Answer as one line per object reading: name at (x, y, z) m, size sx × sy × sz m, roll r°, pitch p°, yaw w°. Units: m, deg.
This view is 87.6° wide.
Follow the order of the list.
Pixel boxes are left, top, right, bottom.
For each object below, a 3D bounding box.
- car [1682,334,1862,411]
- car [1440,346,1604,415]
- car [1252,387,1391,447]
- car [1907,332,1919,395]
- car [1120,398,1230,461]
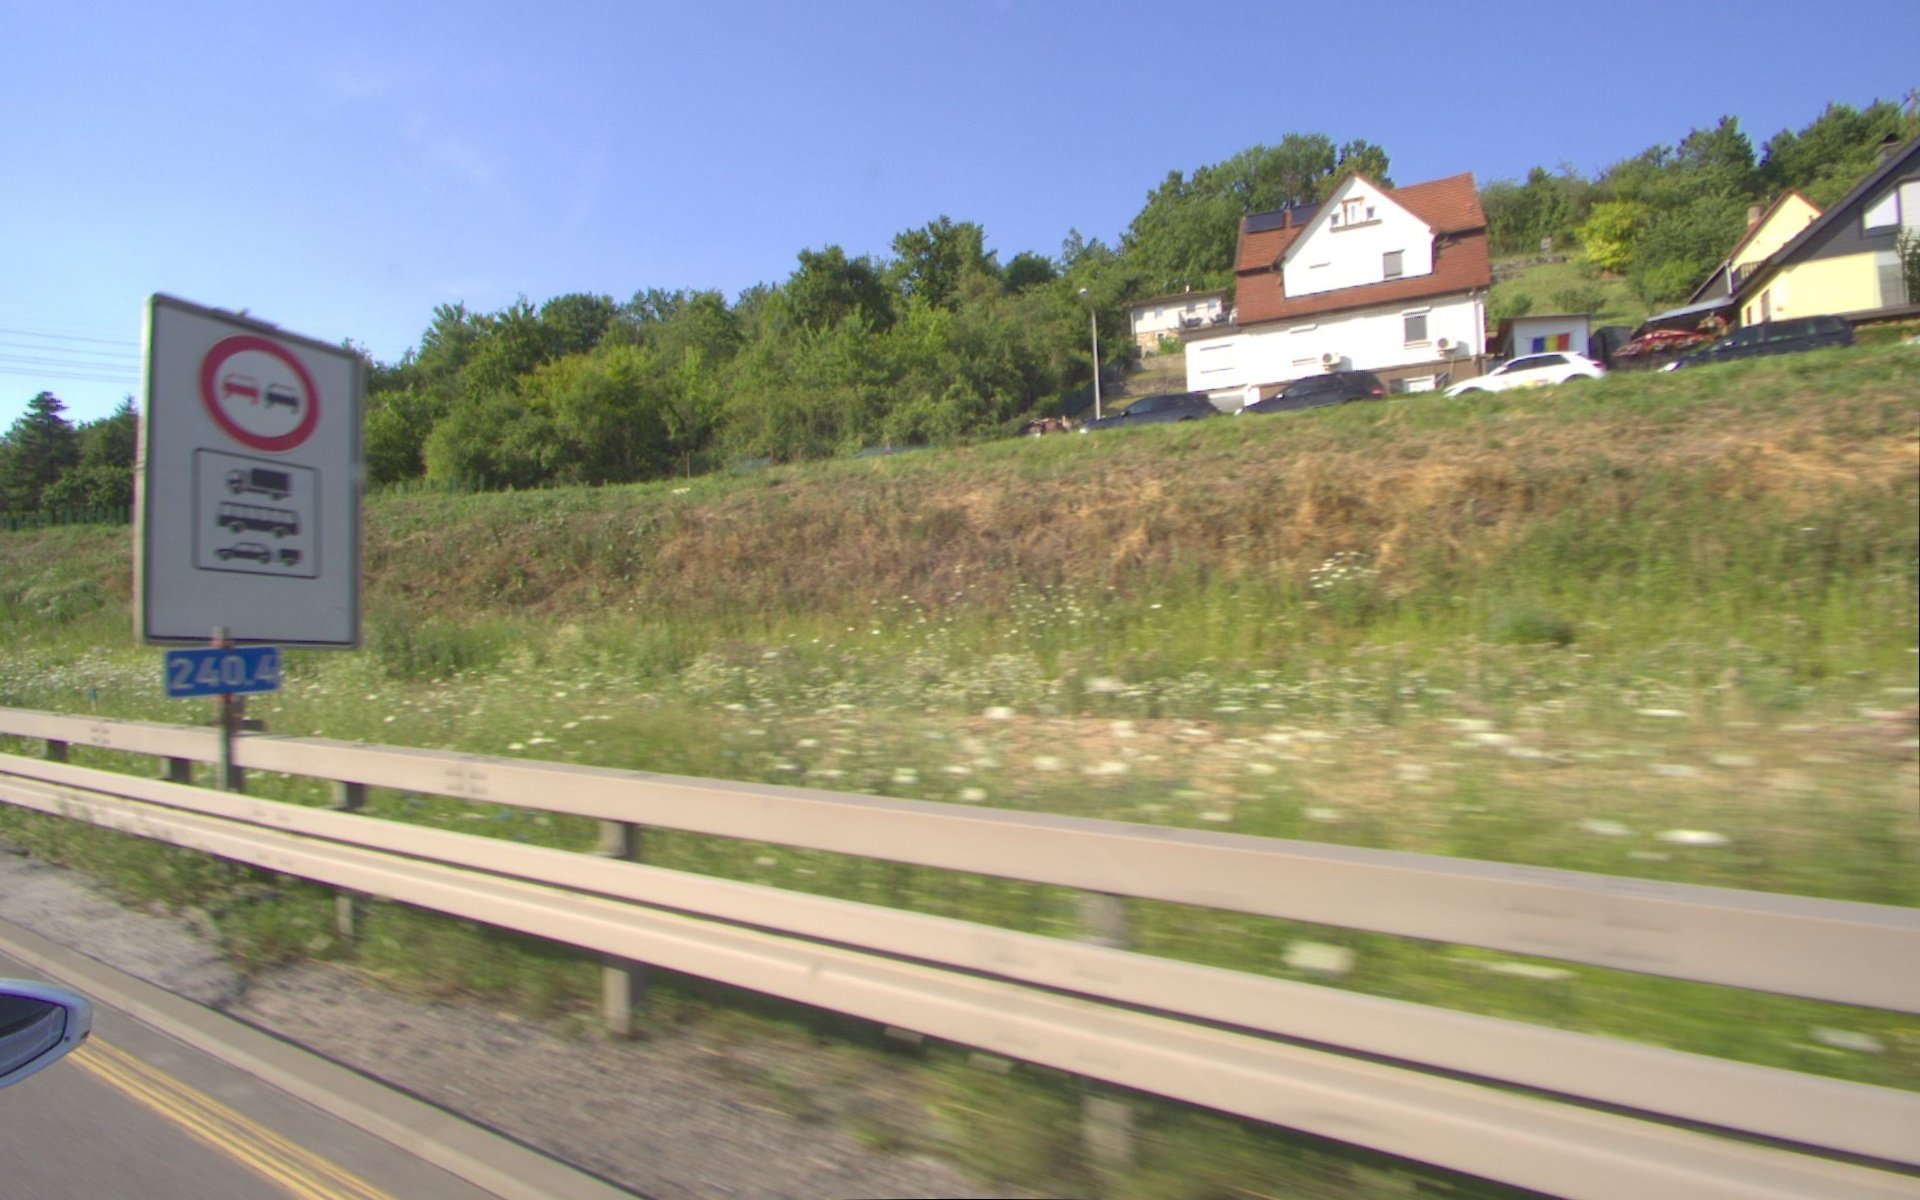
car at (20.567, -5.747, 25.491) m, size 3.285 × 1.340 × 1.346 m, roll 0°, pitch -2°, yaw 21°
car at (15.608, -6.086, 27.986) m, size 3.834 × 1.248 × 1.345 m, roll -1°, pitch -2°, yaw 22°
car at (10.778, -5.433, 29.981) m, size 3.833 × 1.248 × 1.346 m, roll 0°, pitch -2°, yaw 21°
car at (24.724, -5.799, 23.374) m, size 3.497 × 1.389 × 1.448 m, roll -1°, pitch -2°, yaw 22°
car at (6.798, -5.351, 31.661) m, size 3.179 × 1.476 × 1.359 m, roll -1°, pitch -2°, yaw 24°
